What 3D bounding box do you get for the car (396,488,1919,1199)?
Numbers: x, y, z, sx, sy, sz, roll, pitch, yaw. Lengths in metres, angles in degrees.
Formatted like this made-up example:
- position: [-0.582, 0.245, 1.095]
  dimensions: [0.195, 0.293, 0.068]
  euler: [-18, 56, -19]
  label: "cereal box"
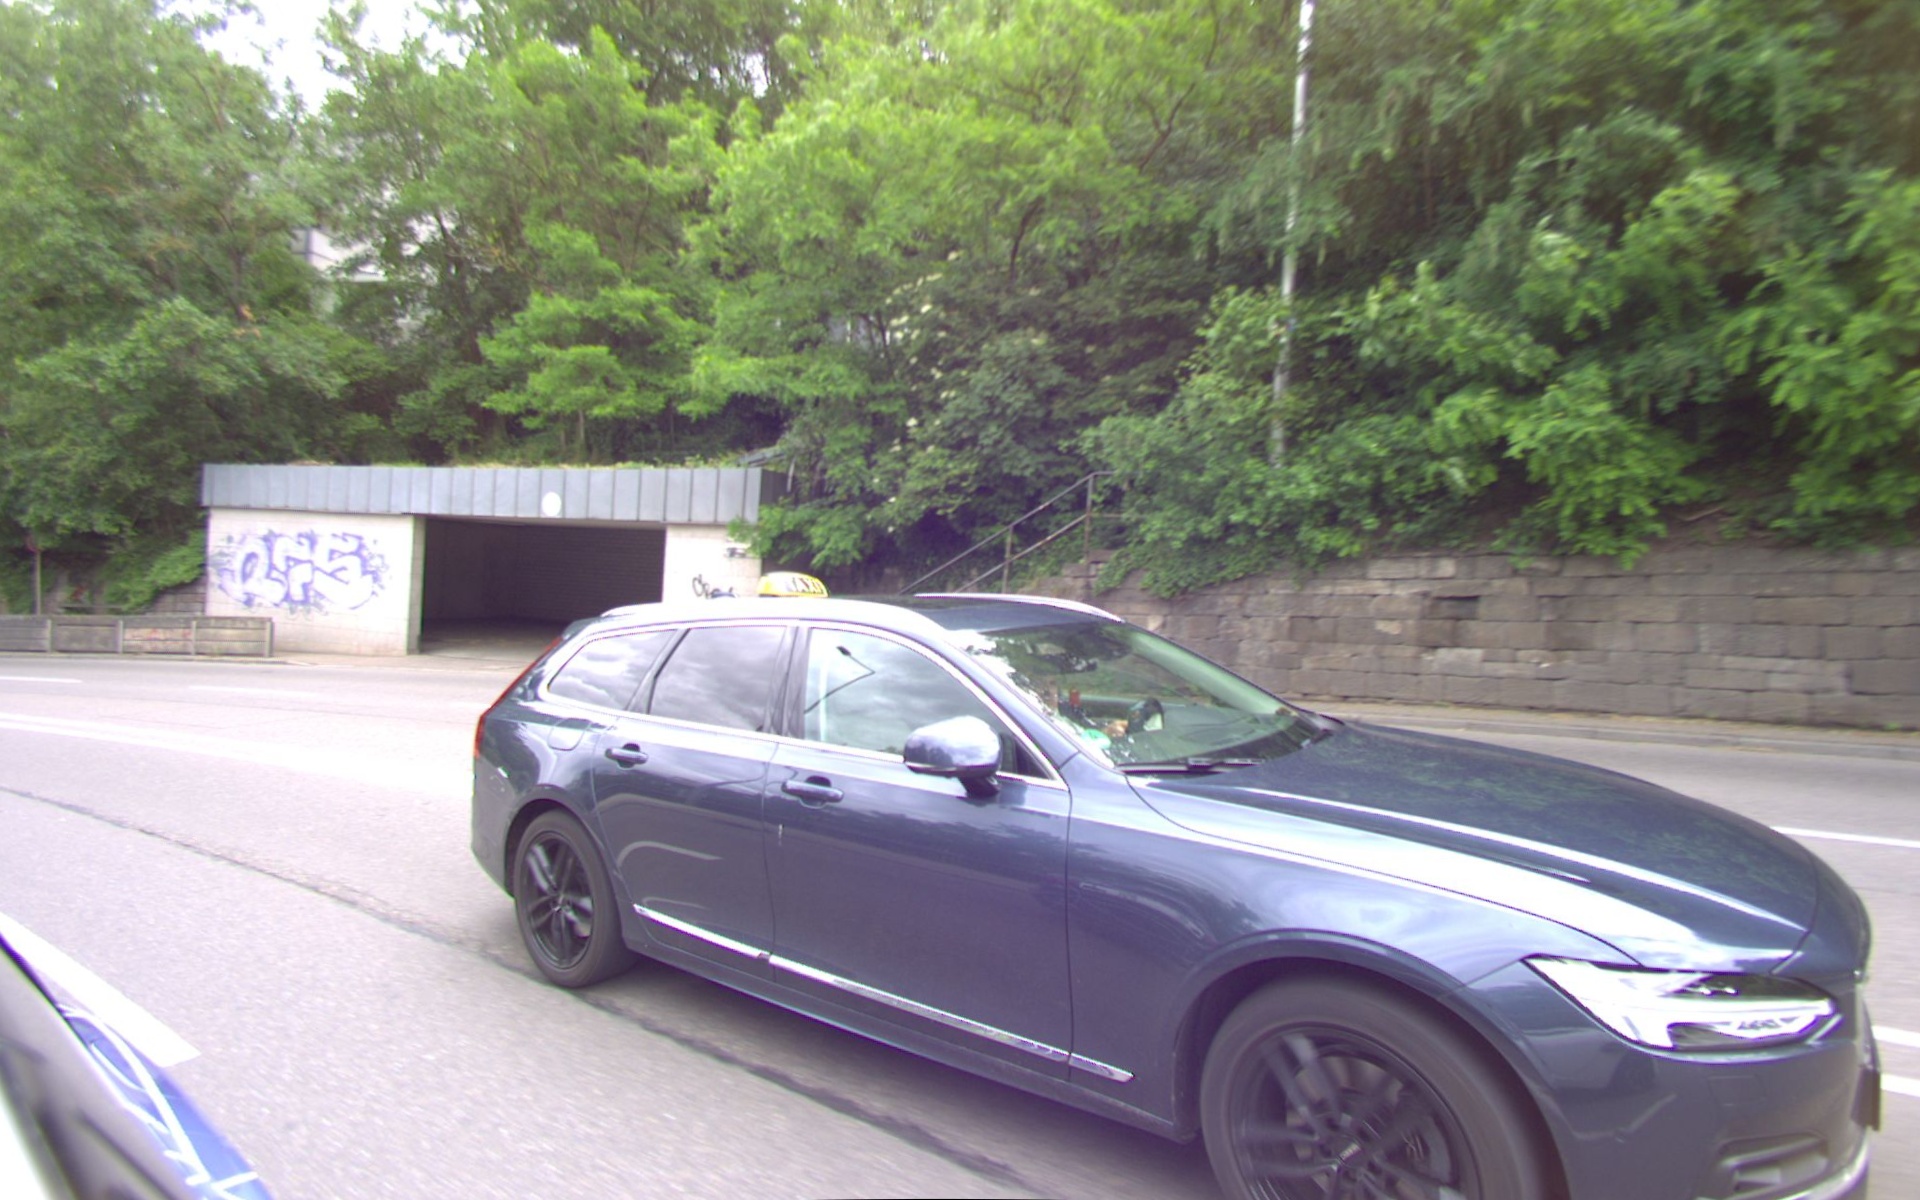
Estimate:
- position: [0.254, 0.583, 3.415]
  dimensions: [5.019, 1.588, 1.917]
  euler: [1, 3, 38]
  label: "car"
